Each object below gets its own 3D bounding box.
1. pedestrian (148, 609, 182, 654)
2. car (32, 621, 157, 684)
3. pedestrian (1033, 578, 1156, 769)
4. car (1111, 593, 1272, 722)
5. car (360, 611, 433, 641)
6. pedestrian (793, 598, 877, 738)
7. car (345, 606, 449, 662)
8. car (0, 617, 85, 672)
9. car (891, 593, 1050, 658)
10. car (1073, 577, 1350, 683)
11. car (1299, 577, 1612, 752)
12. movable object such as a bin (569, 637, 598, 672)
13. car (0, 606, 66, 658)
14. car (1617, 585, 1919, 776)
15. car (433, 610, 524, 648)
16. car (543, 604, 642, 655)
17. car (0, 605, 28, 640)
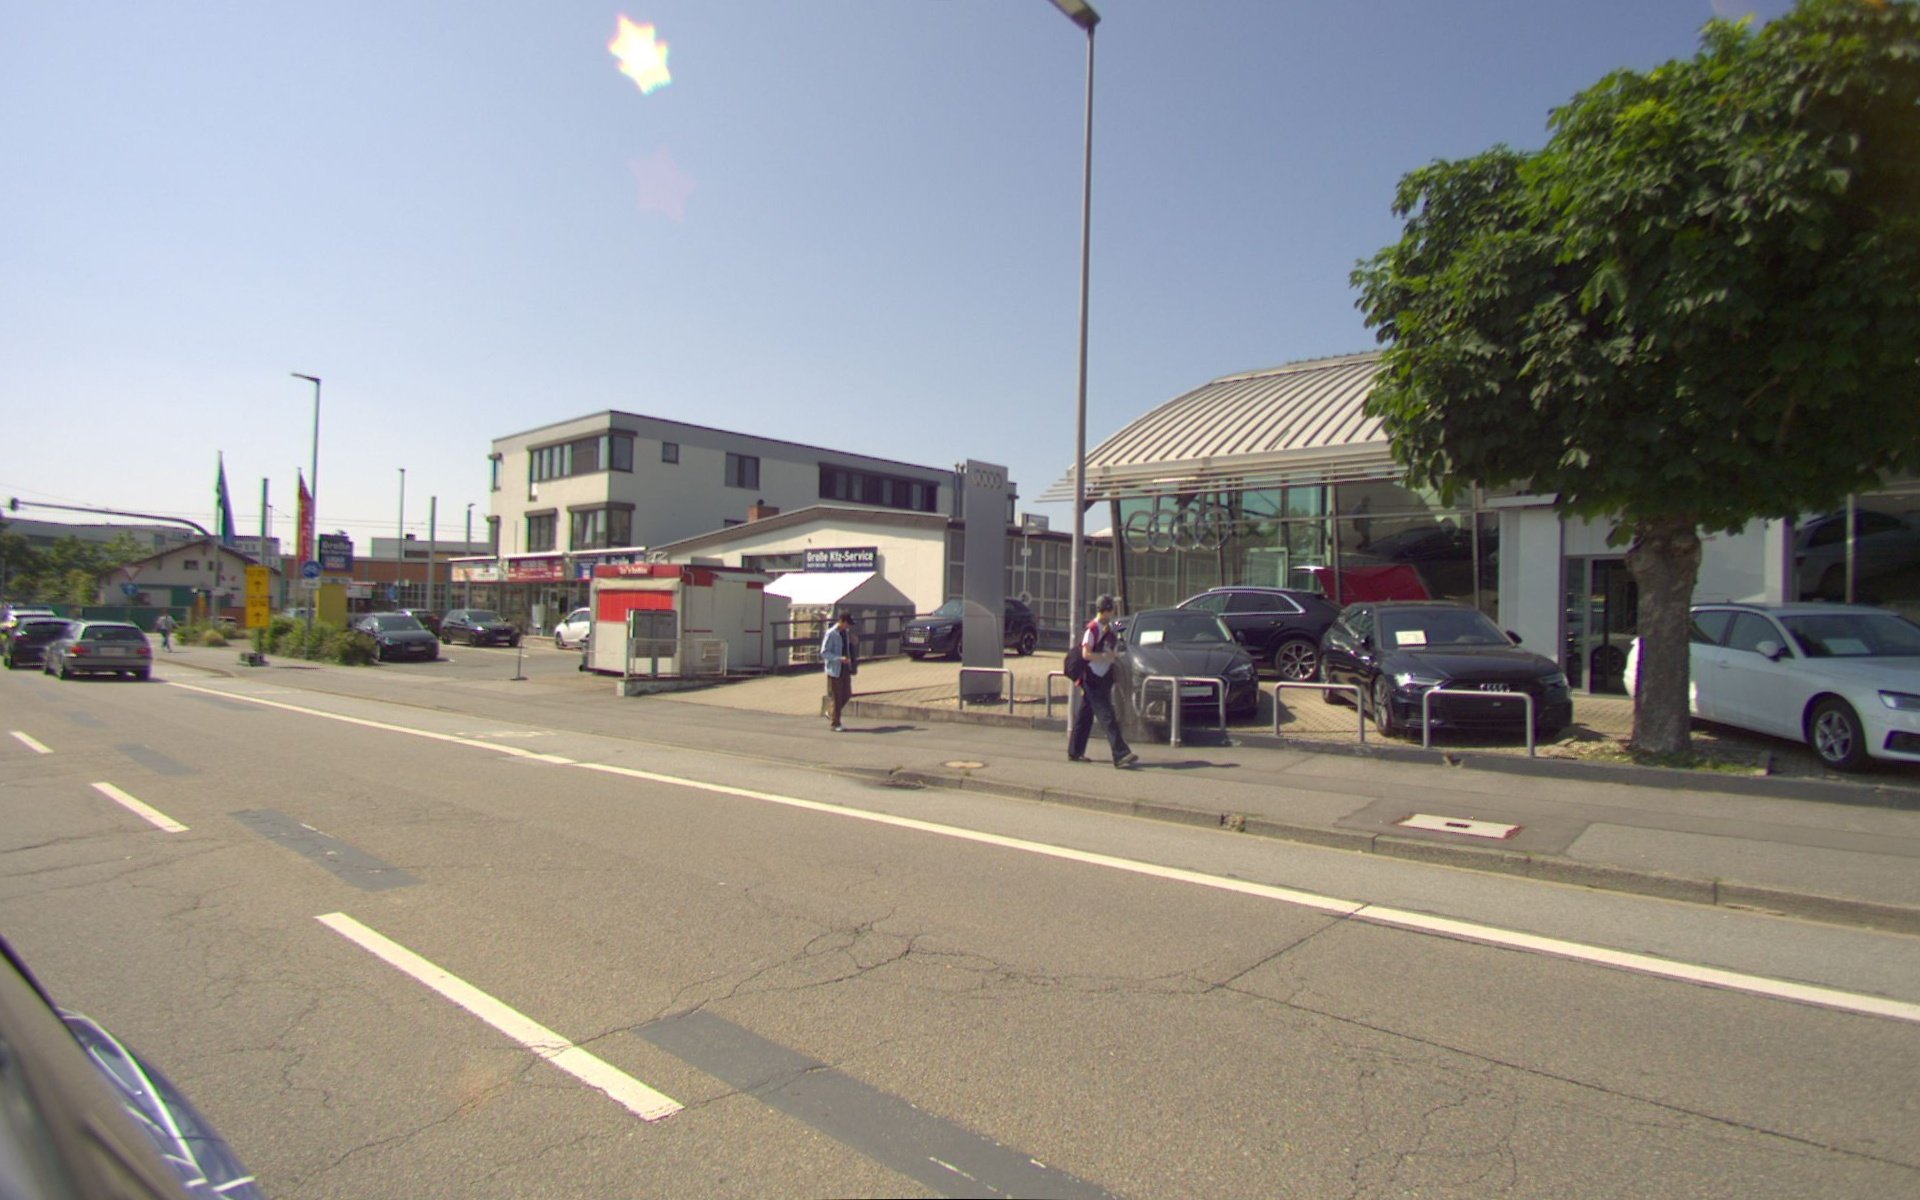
[{"bbox_3d":[-30.465,1.224,38.788,0.981,1.698,0.801,2,-2,-38],"label":"pedestrian"},{"bbox_3d":[-21.592,1.269,25.192,4.322,1.415,1.723,-1,-4,41],"label":"car"},{"bbox_3d":[1.411,0.739,10.607,1.046,1.882,0.725,-1,-2,41],"label":"pedestrian"},{"bbox_3d":[3.202,0.705,14.480,1.887,1.470,4.147,-2,1,11],"label":"car"},{"bbox_3d":[-27.614,1.251,49.543,4.486,1.399,1.886,-1,-2,44],"label":"car"},{"bbox_3d":[-1.742,0.925,14.127,0.911,1.862,0.715,-1,-2,42],"label":"pedestrian"},{"bbox_3d":[-18.804,1.108,33.737,4.001,1.728,1.884,-1,-2,44],"label":"car"},{"bbox_3d":[-26.441,1.248,29.015,4.242,1.465,1.642,-1,-4,45],"label":"car"},{"bbox_3d":[0.328,0.631,25.687,1.897,1.536,3.943,-1,-1,43],"label":"car"},{"bbox_3d":[4.651,0.485,18.798,4.707,1.732,1.983,0,2,26],"label":"car"},{"bbox_3d":[5.807,0.622,12.582,1.941,1.620,4.476,-4,2,6],"label":"car"},{"bbox_3d":[-10.373,1.492,27.886,0.564,0.929,0.691,-1,0,-36],"label":"movable object such as a bin"},{"bbox_3d":[-33.977,1.148,36.788,4.354,1.772,1.871,-1,-2,44],"label":"car"},{"bbox_3d":[8.639,0.631,10.003,1.851,1.506,4.196,0,0,6],"label":"car"},{"bbox_3d":[-19.279,1.141,40.429,4.420,1.432,1.886,-1,-2,44],"label":"car"},{"bbox_3d":[-14.258,1.111,39.115,1.885,1.721,4.482,2,0,-44],"label":"car"},{"bbox_3d":[-62.721,1.248,64.449,4.361,1.960,2.004,8,0,-20],"label":"car"}]
